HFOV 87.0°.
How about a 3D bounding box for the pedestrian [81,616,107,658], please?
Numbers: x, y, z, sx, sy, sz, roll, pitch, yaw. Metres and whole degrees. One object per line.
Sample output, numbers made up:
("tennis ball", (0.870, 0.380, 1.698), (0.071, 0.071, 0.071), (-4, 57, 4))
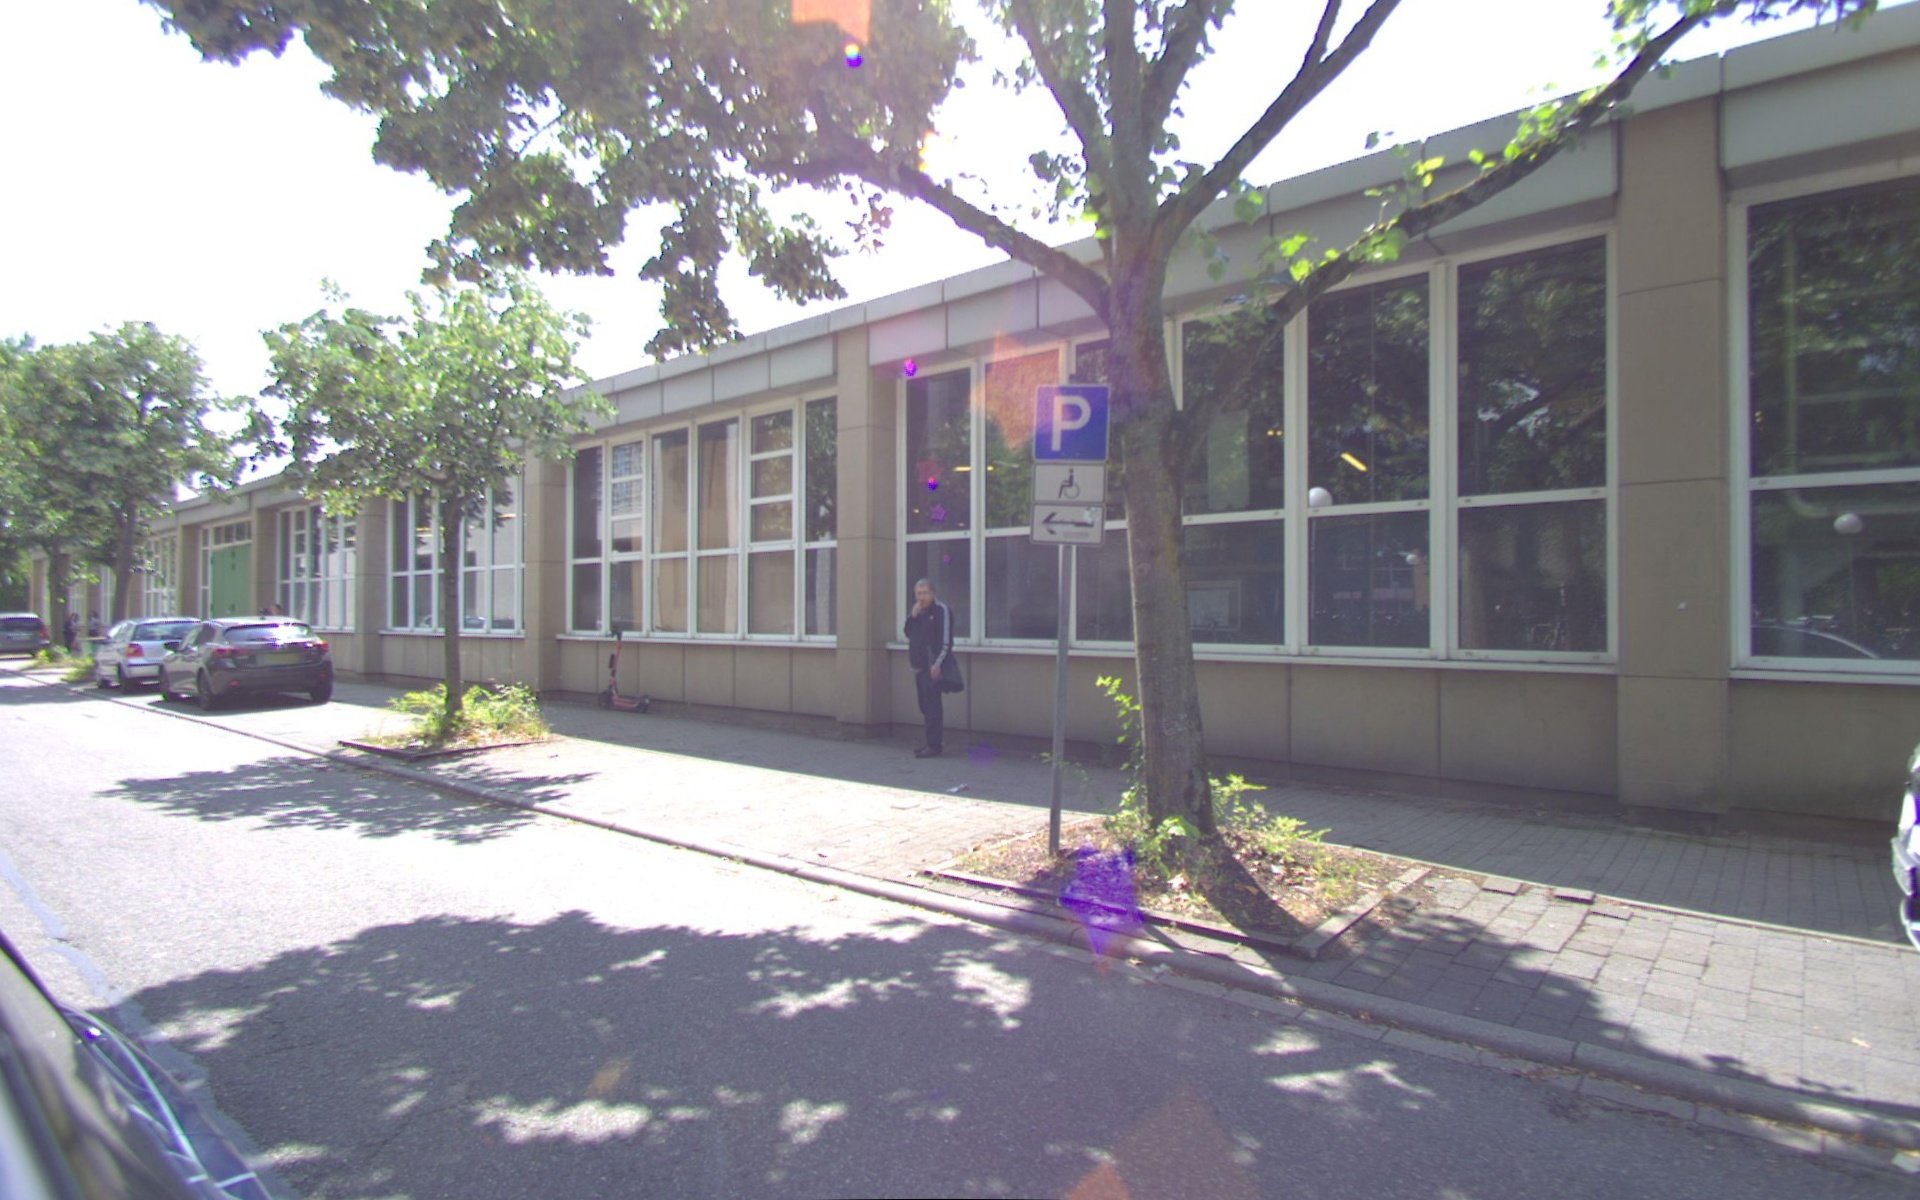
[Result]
("pedestrian", (-33.070, 1.409, 38.655), (0.550, 1.593, 0.598), (-2, -4, 38))

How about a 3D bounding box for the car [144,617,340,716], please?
("car", (-12.406, 1.087, 17.380), (4.286, 1.446, 1.708), (-2, 0, 40))

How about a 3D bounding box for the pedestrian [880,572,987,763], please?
("pedestrian", (-0.265, 0.646, 10.056), (0.790, 1.801, 0.661), (-2, -1, 41))

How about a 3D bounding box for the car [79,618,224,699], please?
("car", (-16.791, 1.147, 20.966), (3.750, 1.460, 1.613), (-1, 1, 40))

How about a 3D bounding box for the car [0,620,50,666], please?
("car", (-33.452, 1.493, 35.499), (3.673, 1.460, 1.781), (-1, 1, 40))

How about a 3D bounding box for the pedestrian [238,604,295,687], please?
("pedestrian", (-14.794, 0.963, 21.610), (0.597, 1.741, 0.791), (-1, -2, 23))

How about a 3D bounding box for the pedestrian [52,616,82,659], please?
("pedestrian", (-33.581, 1.432, 38.071), (0.595, 1.593, 0.553), (2, -4, -19))

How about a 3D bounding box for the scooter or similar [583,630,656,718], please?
("scooter or similar", (-4.954, 1.052, 14.698), (1.245, 1.216, 0.379), (-2, 0, 40))

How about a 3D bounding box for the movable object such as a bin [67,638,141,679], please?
("movable object such as a bin", (-22.928, 1.538, 27.101), (1.695, 0.992, 1.278), (-2, 0, 41))

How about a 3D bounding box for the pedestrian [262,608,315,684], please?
("pedestrian", (-13.984, 0.946, 21.073), (0.786, 1.553, 0.664), (1, -2, -45))
